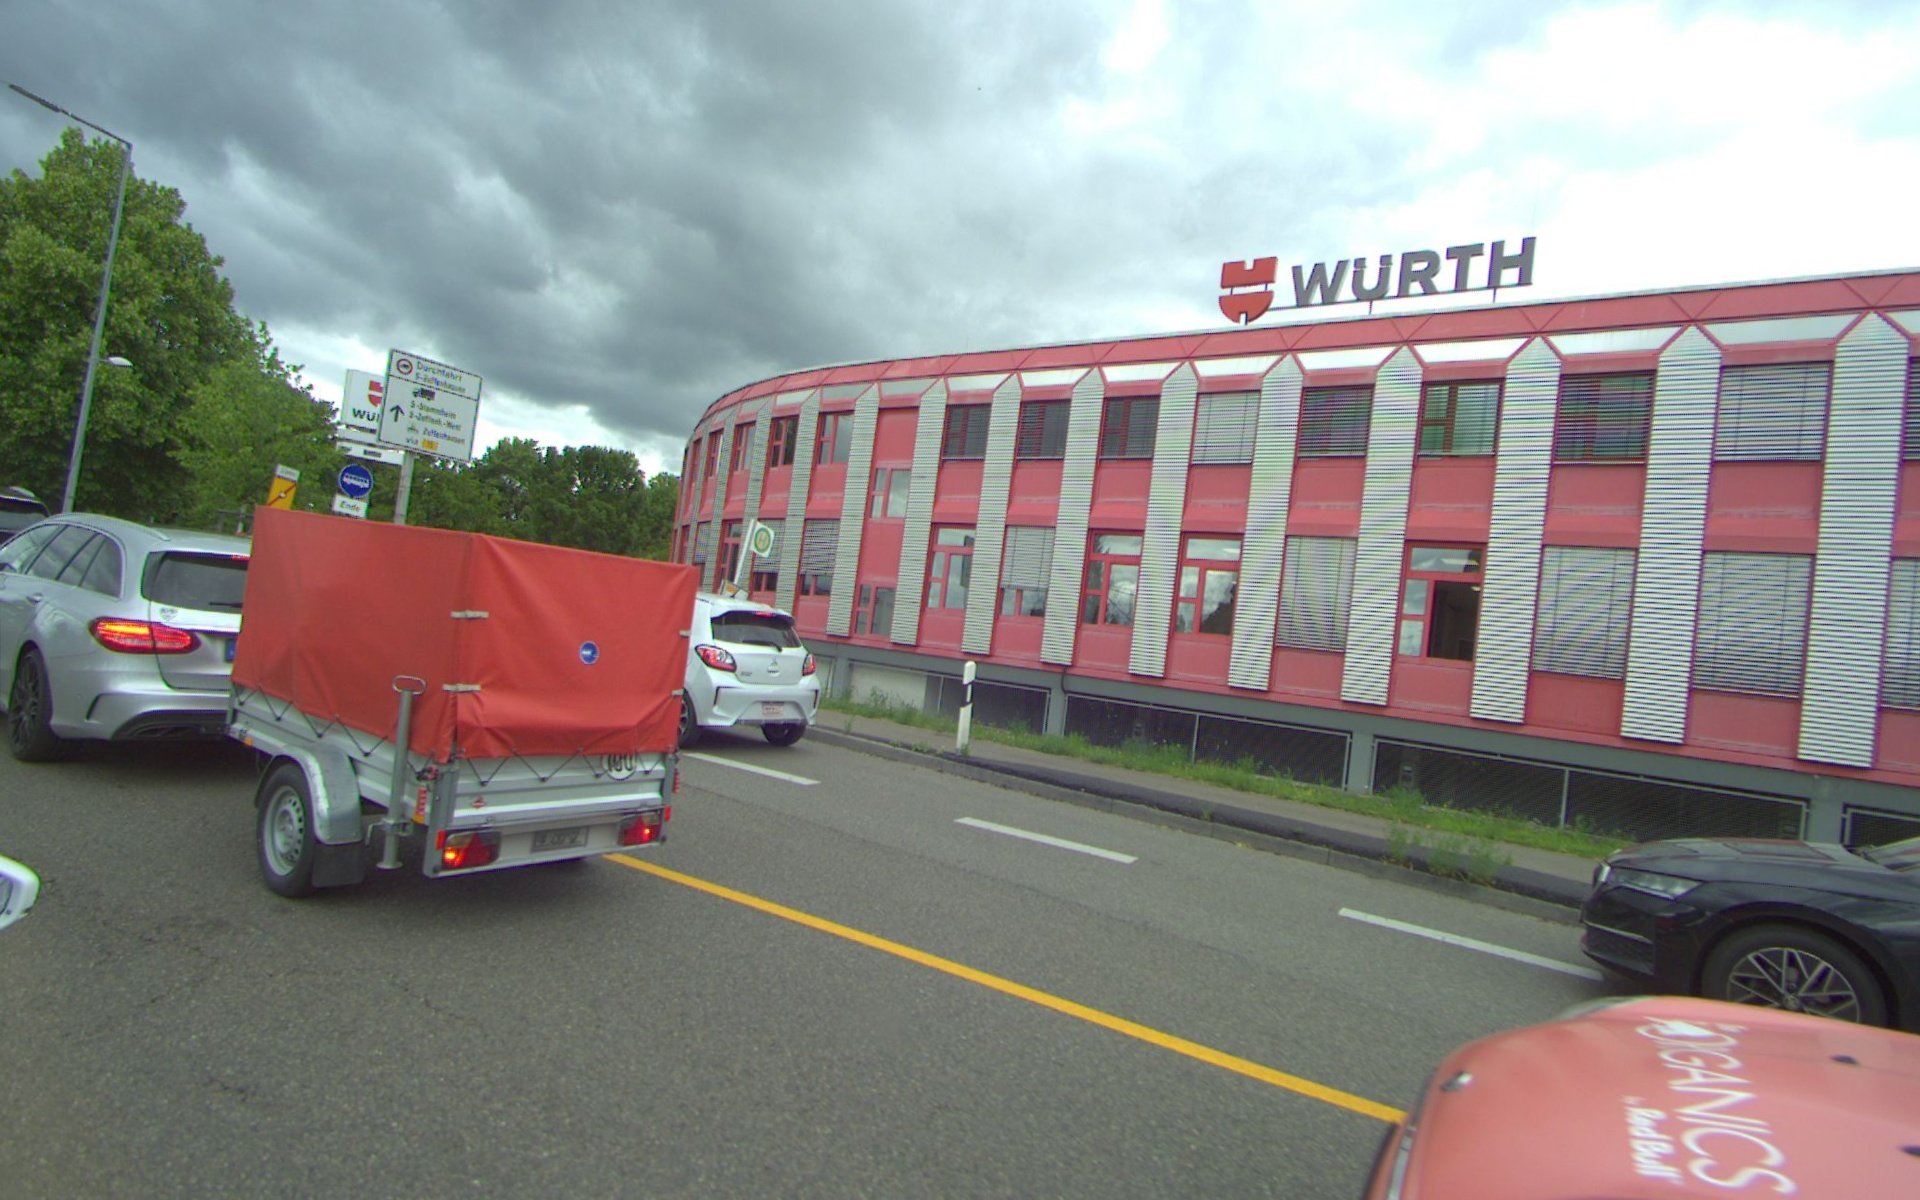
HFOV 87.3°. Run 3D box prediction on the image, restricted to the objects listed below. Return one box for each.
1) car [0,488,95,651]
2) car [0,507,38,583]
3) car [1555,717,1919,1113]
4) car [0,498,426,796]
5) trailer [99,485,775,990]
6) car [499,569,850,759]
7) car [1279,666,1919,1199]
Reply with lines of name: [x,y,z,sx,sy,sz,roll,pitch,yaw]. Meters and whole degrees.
car: [-11.394,-0.531,11.121,4.338,1.580,1.844,7,-1,38]
car: [-22.581,-1.437,22.726,3.007,1.588,1.575,7,-3,30]
car: [5.263,1.580,4.419,4.217,1.450,1.834,7,-1,40]
car: [-5.820,0.152,7.065,4.418,1.464,1.673,6,-2,34]
trailer: [-2.659,0.430,4.903,3.250,1.613,1.410,7,-1,34]
car: [-3.146,0.632,10.826,3.632,1.474,1.624,6,-2,37]
car: [2.386,1.077,1.109,3.635,1.474,1.722,7,-2,31]
